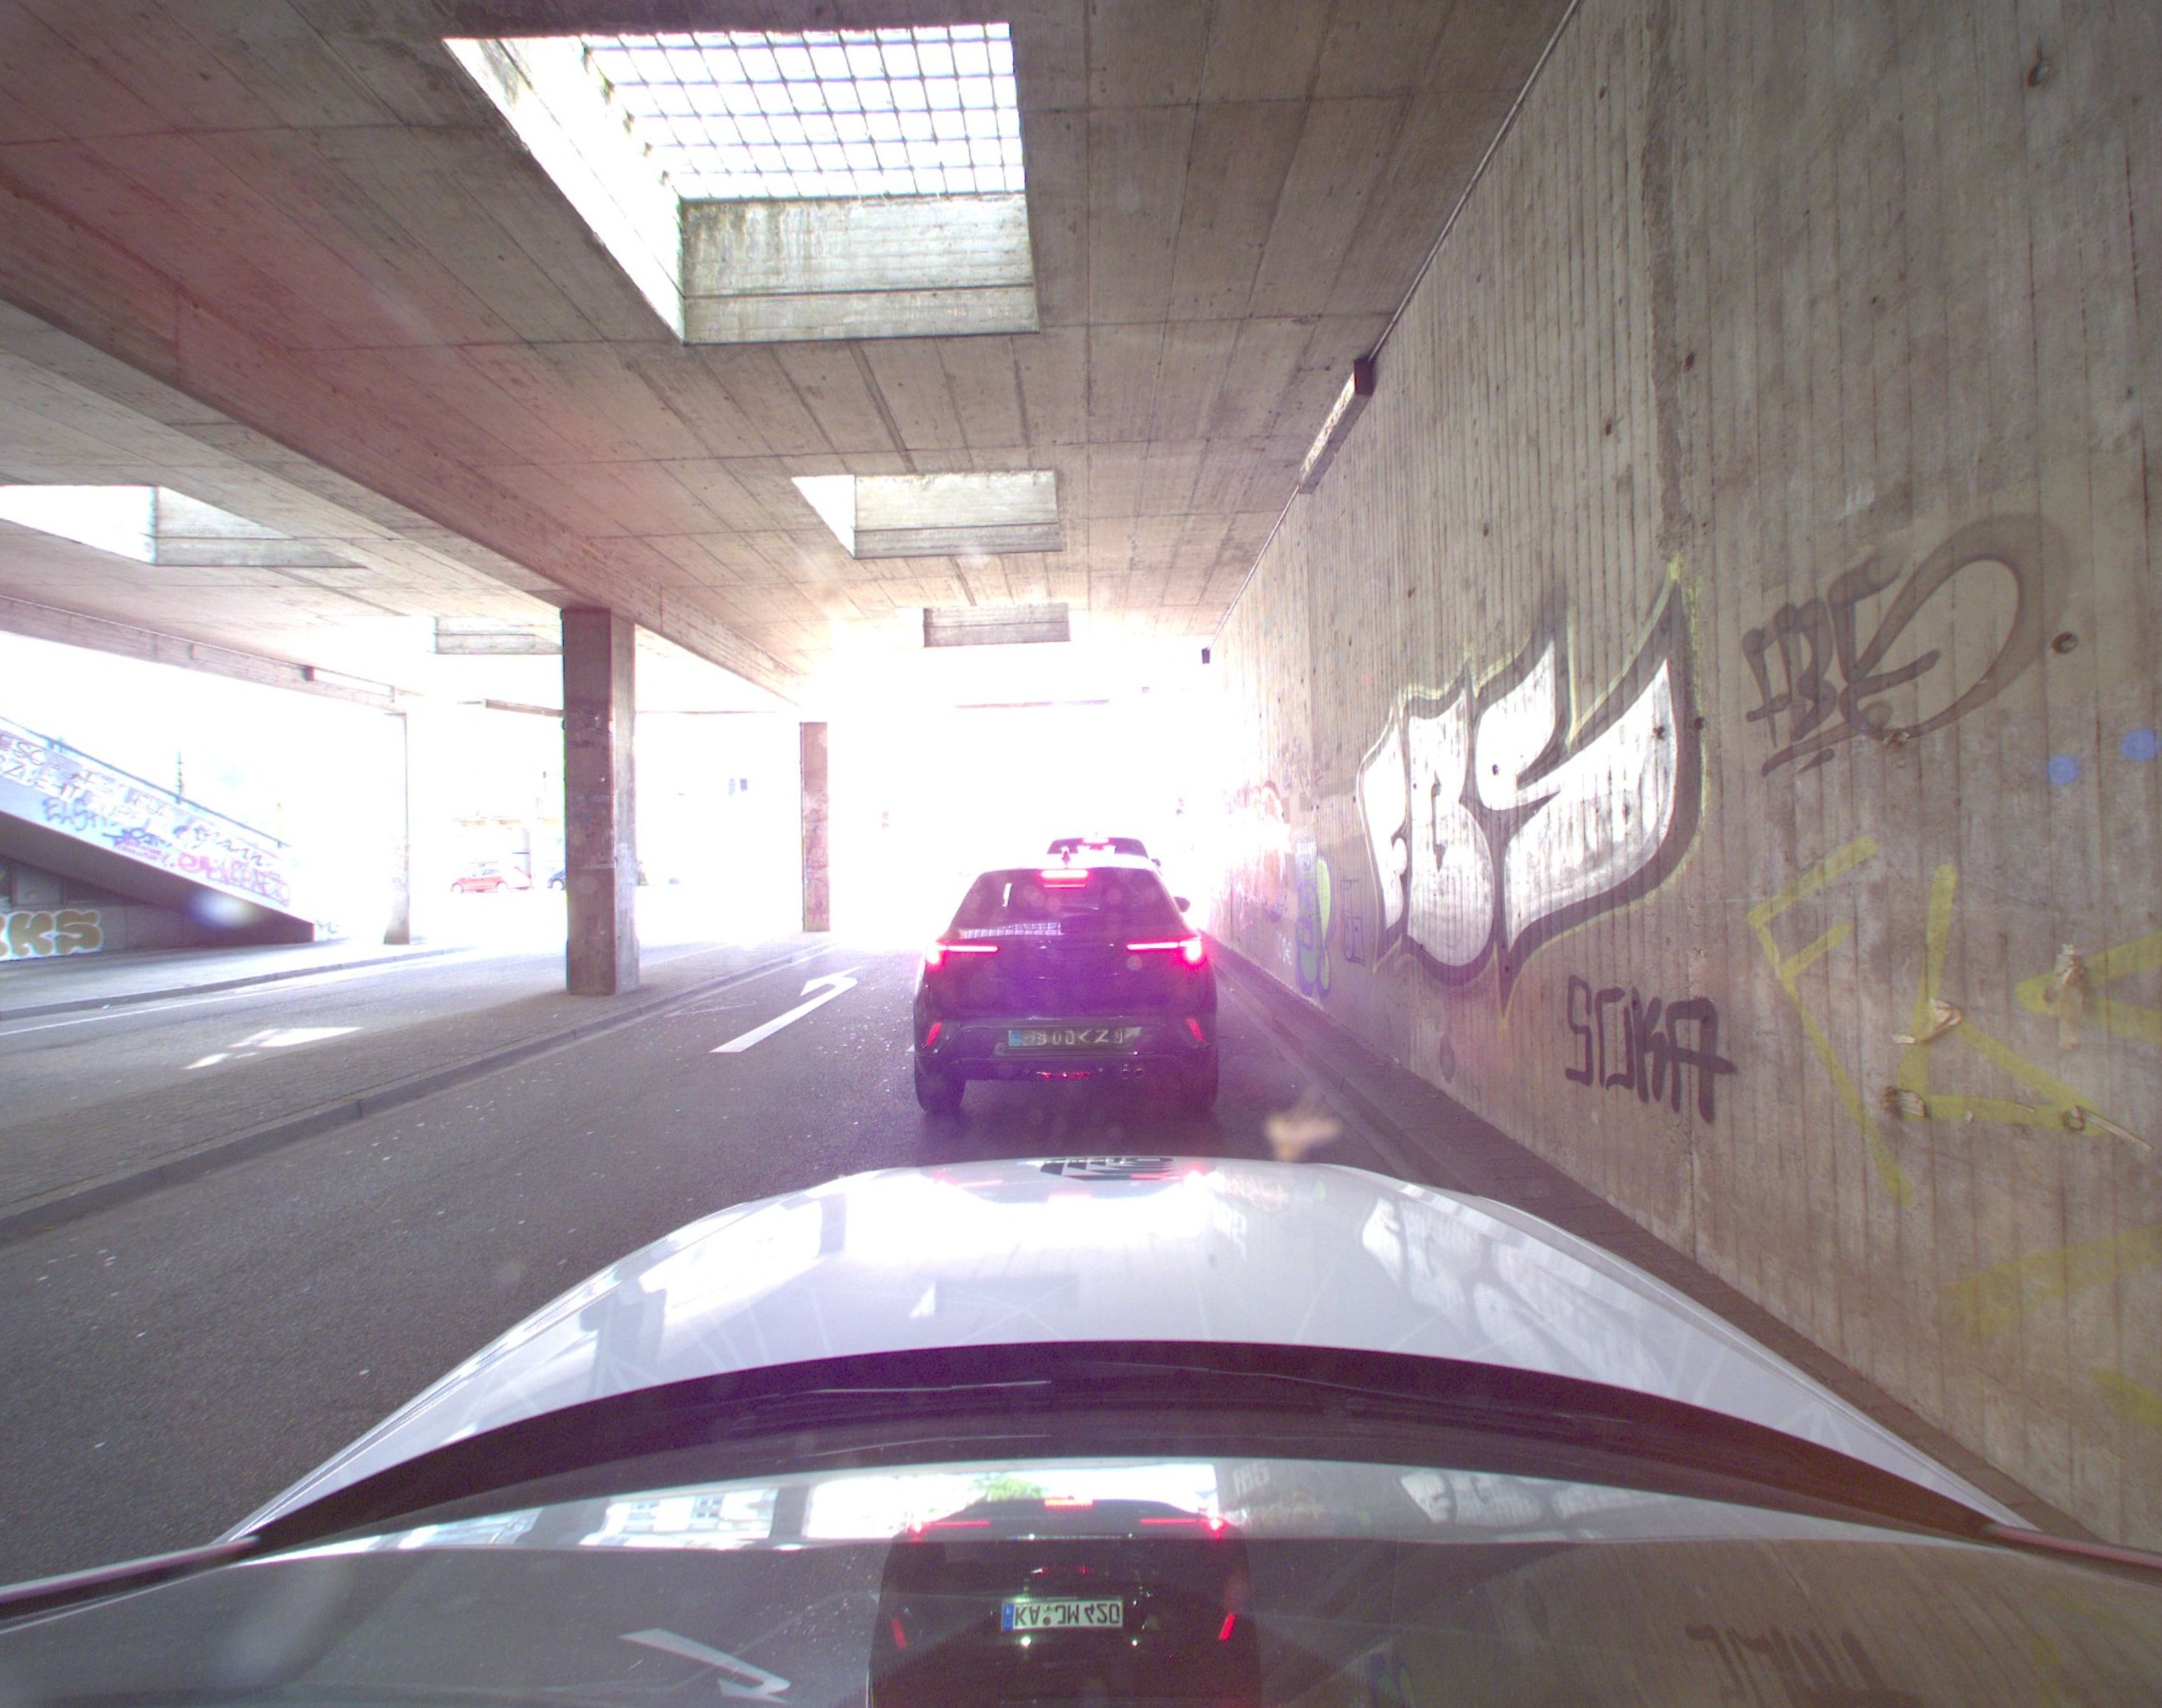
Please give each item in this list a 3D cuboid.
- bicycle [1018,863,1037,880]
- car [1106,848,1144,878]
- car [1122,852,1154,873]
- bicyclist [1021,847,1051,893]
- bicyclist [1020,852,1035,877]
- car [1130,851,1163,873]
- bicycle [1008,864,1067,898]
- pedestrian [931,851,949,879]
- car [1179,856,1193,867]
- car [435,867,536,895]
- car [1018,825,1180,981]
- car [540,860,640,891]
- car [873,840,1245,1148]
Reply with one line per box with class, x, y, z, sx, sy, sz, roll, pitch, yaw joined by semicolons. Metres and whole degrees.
bicycle;-3.390;1.112;51.730;0.727;1.067;1.694;-1;-1;11
car;2.406;0.510;44.252;1.959;1.497;3.900;-2;-2;4
car;4.405;0.650;62.237;1.955;1.497;3.908;-2;-2;11
bicyclist;-1.449;0.508;26.517;0.867;1.452;0.745;-2;0;-1
bicyclist;-3.381;0.655;51.764;0.724;1.581;0.817;-1;-1;11
car;5.587;0.696;69.022;2.206;1.719;4.474;-2;-2;12
bicycle;-1.397;0.862;26.533;1.849;1.008;0.745;-3;0;-1
pedestrian;-10.457;0.835;60.354;0.986;2.013;1.091;-2;0;10
car;16.550;1.126;128.281;1.981;1.662;4.012;-1;-1;11
car;-33.015;1.474;45.227;3.970;1.374;2.192;-2;0;3
car;0.280;0.603;11.994;1.938;1.860;3.966;-2;0;2
car;-27.210;1.185;45.227;4.114;1.550;2.268;-2;0;1
car;-0.053;0.720;6.173;1.875;1.538;3.966;-2;0;2
